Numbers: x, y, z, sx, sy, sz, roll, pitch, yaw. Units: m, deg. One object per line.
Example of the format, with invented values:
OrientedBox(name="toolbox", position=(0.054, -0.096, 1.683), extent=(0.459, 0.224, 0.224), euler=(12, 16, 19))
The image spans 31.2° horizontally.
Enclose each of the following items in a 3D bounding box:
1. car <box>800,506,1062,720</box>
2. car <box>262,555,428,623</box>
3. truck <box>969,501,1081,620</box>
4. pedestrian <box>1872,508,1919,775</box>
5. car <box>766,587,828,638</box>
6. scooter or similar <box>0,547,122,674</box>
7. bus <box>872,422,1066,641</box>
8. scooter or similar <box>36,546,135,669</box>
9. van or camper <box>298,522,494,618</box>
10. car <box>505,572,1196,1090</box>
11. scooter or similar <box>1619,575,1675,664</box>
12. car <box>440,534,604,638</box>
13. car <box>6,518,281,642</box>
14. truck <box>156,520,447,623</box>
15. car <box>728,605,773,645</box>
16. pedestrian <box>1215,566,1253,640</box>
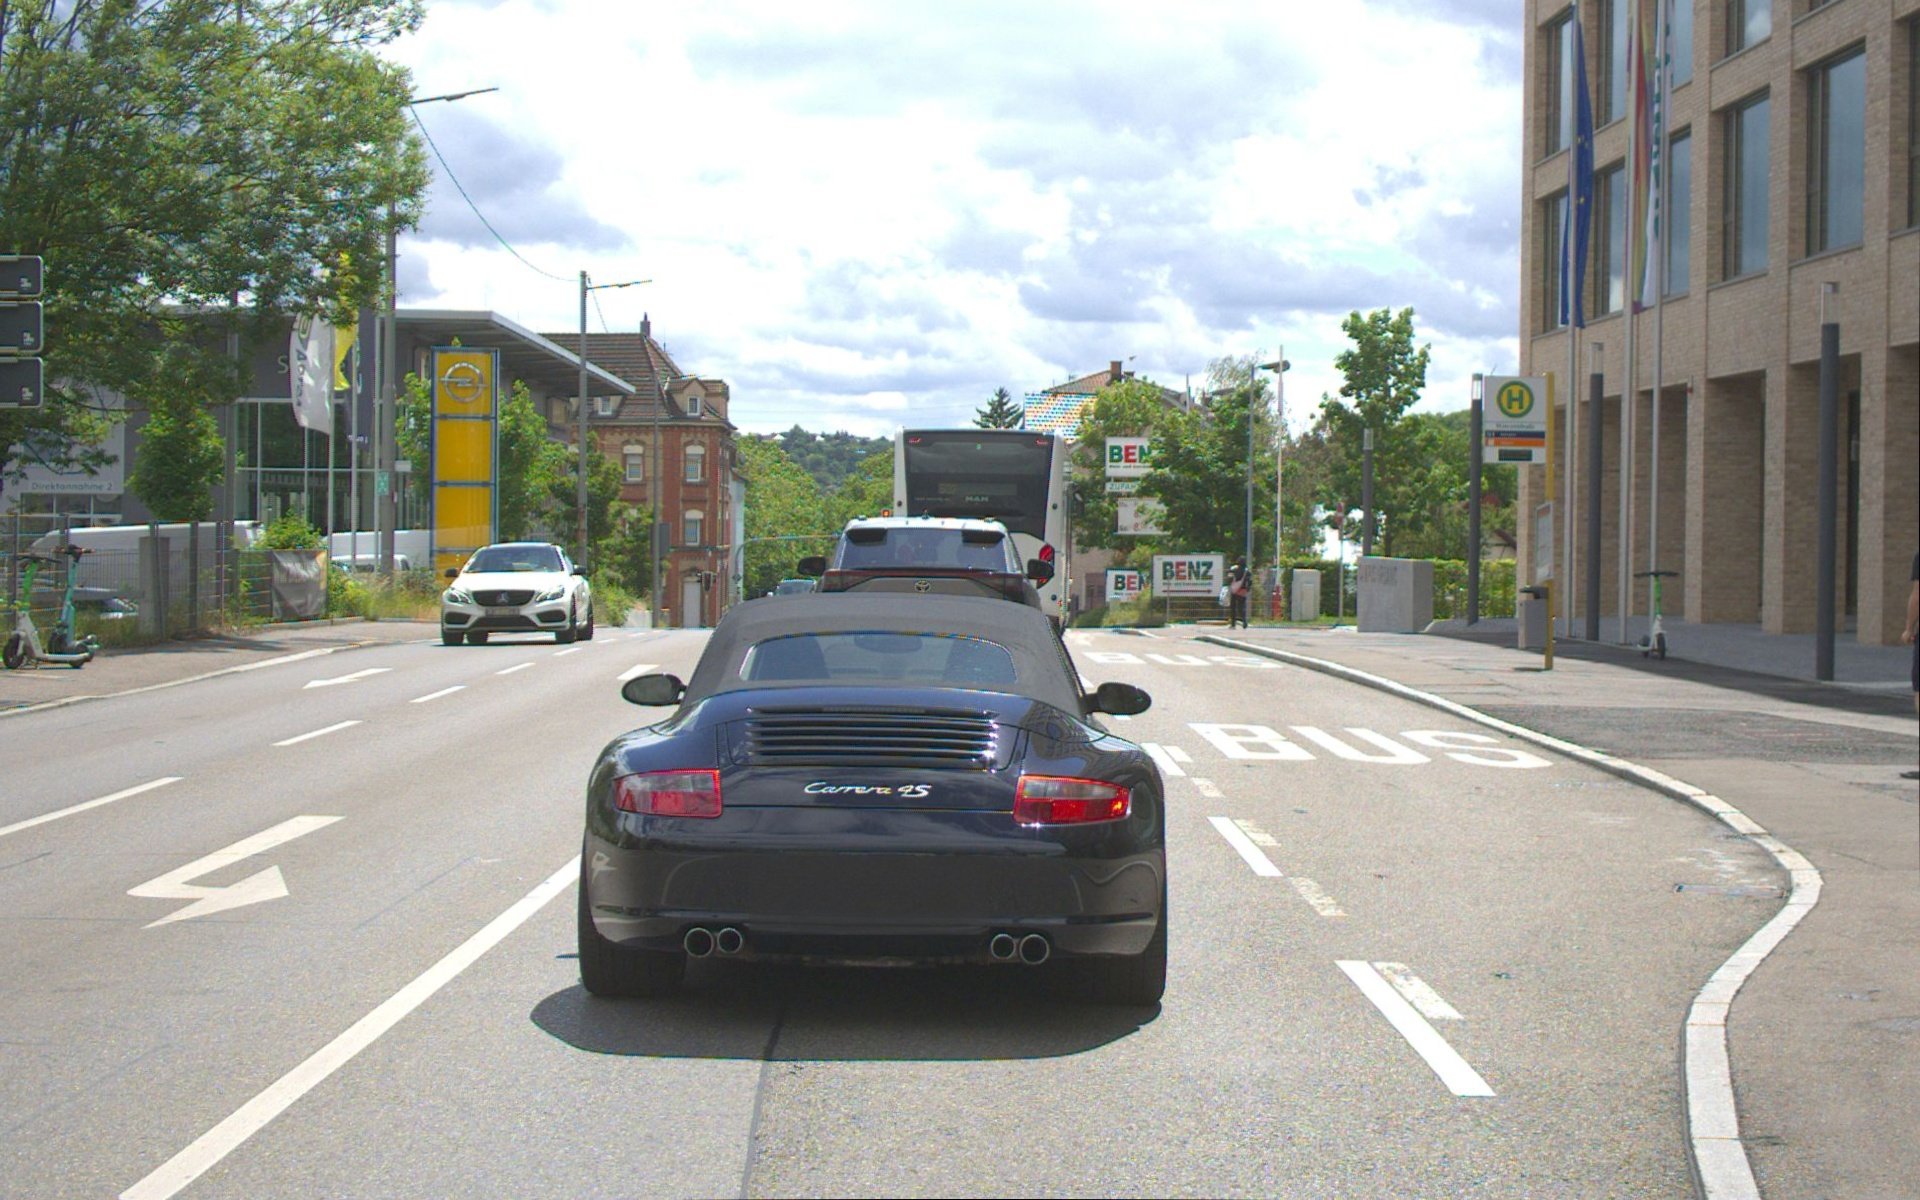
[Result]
OrientedBox(name="car", position=(-0.313, 0.061, 27.849), extent=(1.930, 1.577, 4.208), euler=(1, 1, -3))
OrientedBox(name="car", position=(-16.475, -0.304, 92.264), extent=(3.987, 1.700, 2.000), euler=(1, 1, 5))
OrientedBox(name="truck", position=(1.663, -1.079, 91.643), extent=(2.713, 3.044, 7.714), euler=(0, 1, -1))
OrientedBox(name="pedestrian", position=(6.507, 0.264, 22.660), extent=(0.683, 1.722, 0.962), euler=(1, 1, -1))
OrientedBox(name="car", position=(-4.931, 0.386, 104.232), extent=(1.829, 1.504, 4.277), euler=(0, -1, -2))
OrientedBox(name="scooter or similar", position=(-9.231, 0.103, 35.240), extent=(0.535, 1.258, 1.470), euler=(2, 1, 17))
OrientedBox(name="bus", position=(0.217, -1.142, 56.705), extent=(2.802, 3.187, 12.196), euler=(1, 1, 1))
OrientedBox(name="scooter or similar", position=(-9.337, 0.070, 36.738), extent=(0.535, 1.262, 1.471), euler=(2, 1, 5))
OrientedBox(name="van or camper", position=(-15.532, -0.838, 94.871), extent=(5.026, 2.522, 2.318), euler=(1, 1, -1))
OrientedBox(name="car", position=(-0.299, 0.636, 11.802), extent=(1.930, 1.372, 4.208), euler=(1, 1, 0))
OrientedBox(name="scooter or similar", position=(9.078, 0.249, 45.459), extent=(0.427, 1.149, 1.404), euler=(0, 0, -1))
OrientedBox(name="car", position=(-6.191, -0.230, 48.968), extent=(1.796, 1.372, 4.225), euler=(-1, 1, 0))
OrientedBox(name="car", position=(-13.757, -0.355, 58.114), extent=(4.160, 2.007, 2.199), euler=(1, 1, -3))
OrientedBox(name="truck", position=(-14.073, -0.586, 73.785), extent=(5.860, 2.140, 2.477), euler=(0, -1, -3))
OrientedBox(name="car", position=(-8.801, 1.033, 144.439), extent=(1.743, 1.590, 4.042), euler=(-2, 0, -2))
OrientedBox(name="pedestrian", position=(5.705, 0.056, 71.634), extent=(0.687, 1.531, 0.856), euler=(0, 0, -1))
